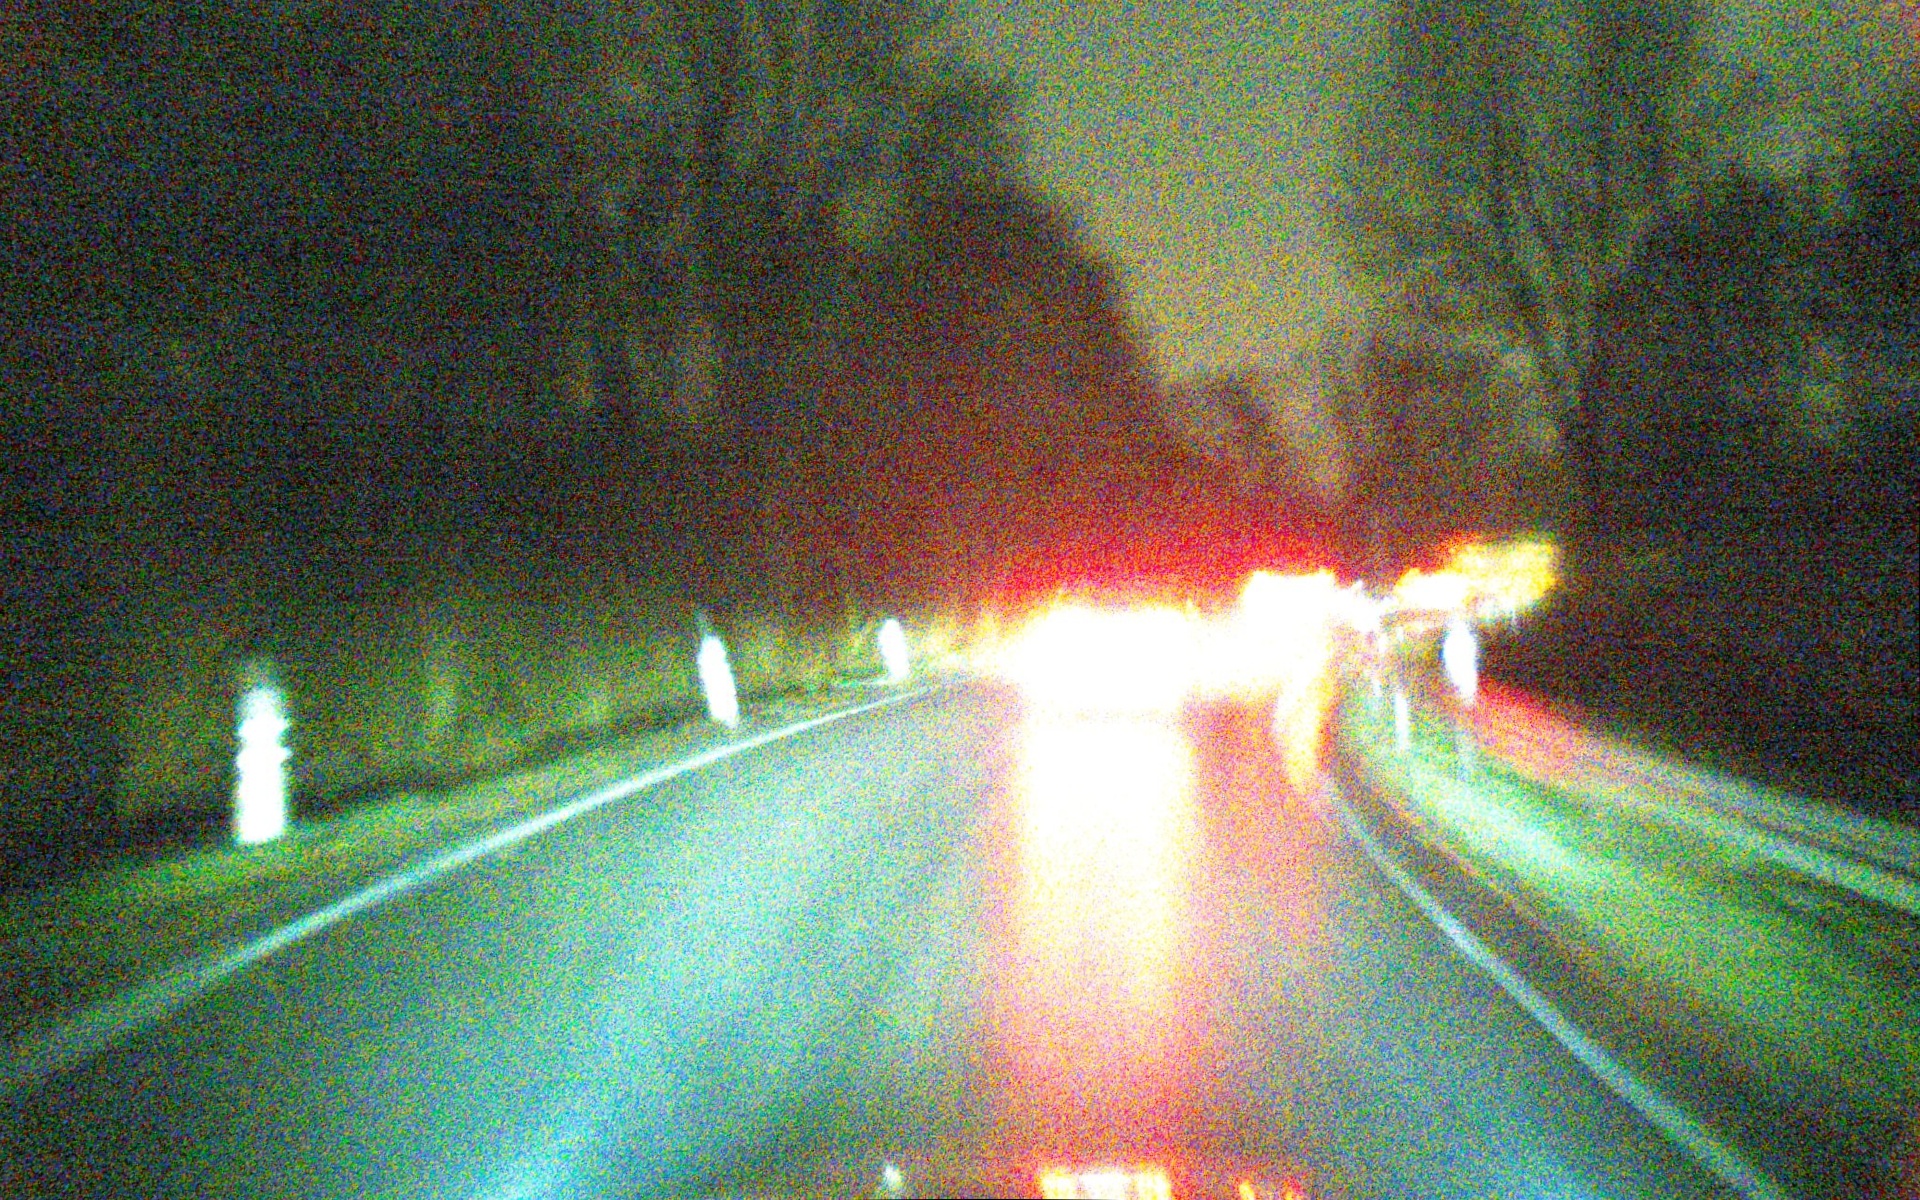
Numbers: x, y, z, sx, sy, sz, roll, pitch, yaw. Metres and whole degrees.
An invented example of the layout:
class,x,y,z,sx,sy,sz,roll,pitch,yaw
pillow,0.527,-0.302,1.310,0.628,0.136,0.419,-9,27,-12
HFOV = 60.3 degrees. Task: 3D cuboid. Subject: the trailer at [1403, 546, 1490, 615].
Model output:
class,x,y,z,sx,sy,sz,roll,pitch,yaw
trailer,17.421,-0.580,58.826,2.035,2.049,10.647,-4,-2,21
